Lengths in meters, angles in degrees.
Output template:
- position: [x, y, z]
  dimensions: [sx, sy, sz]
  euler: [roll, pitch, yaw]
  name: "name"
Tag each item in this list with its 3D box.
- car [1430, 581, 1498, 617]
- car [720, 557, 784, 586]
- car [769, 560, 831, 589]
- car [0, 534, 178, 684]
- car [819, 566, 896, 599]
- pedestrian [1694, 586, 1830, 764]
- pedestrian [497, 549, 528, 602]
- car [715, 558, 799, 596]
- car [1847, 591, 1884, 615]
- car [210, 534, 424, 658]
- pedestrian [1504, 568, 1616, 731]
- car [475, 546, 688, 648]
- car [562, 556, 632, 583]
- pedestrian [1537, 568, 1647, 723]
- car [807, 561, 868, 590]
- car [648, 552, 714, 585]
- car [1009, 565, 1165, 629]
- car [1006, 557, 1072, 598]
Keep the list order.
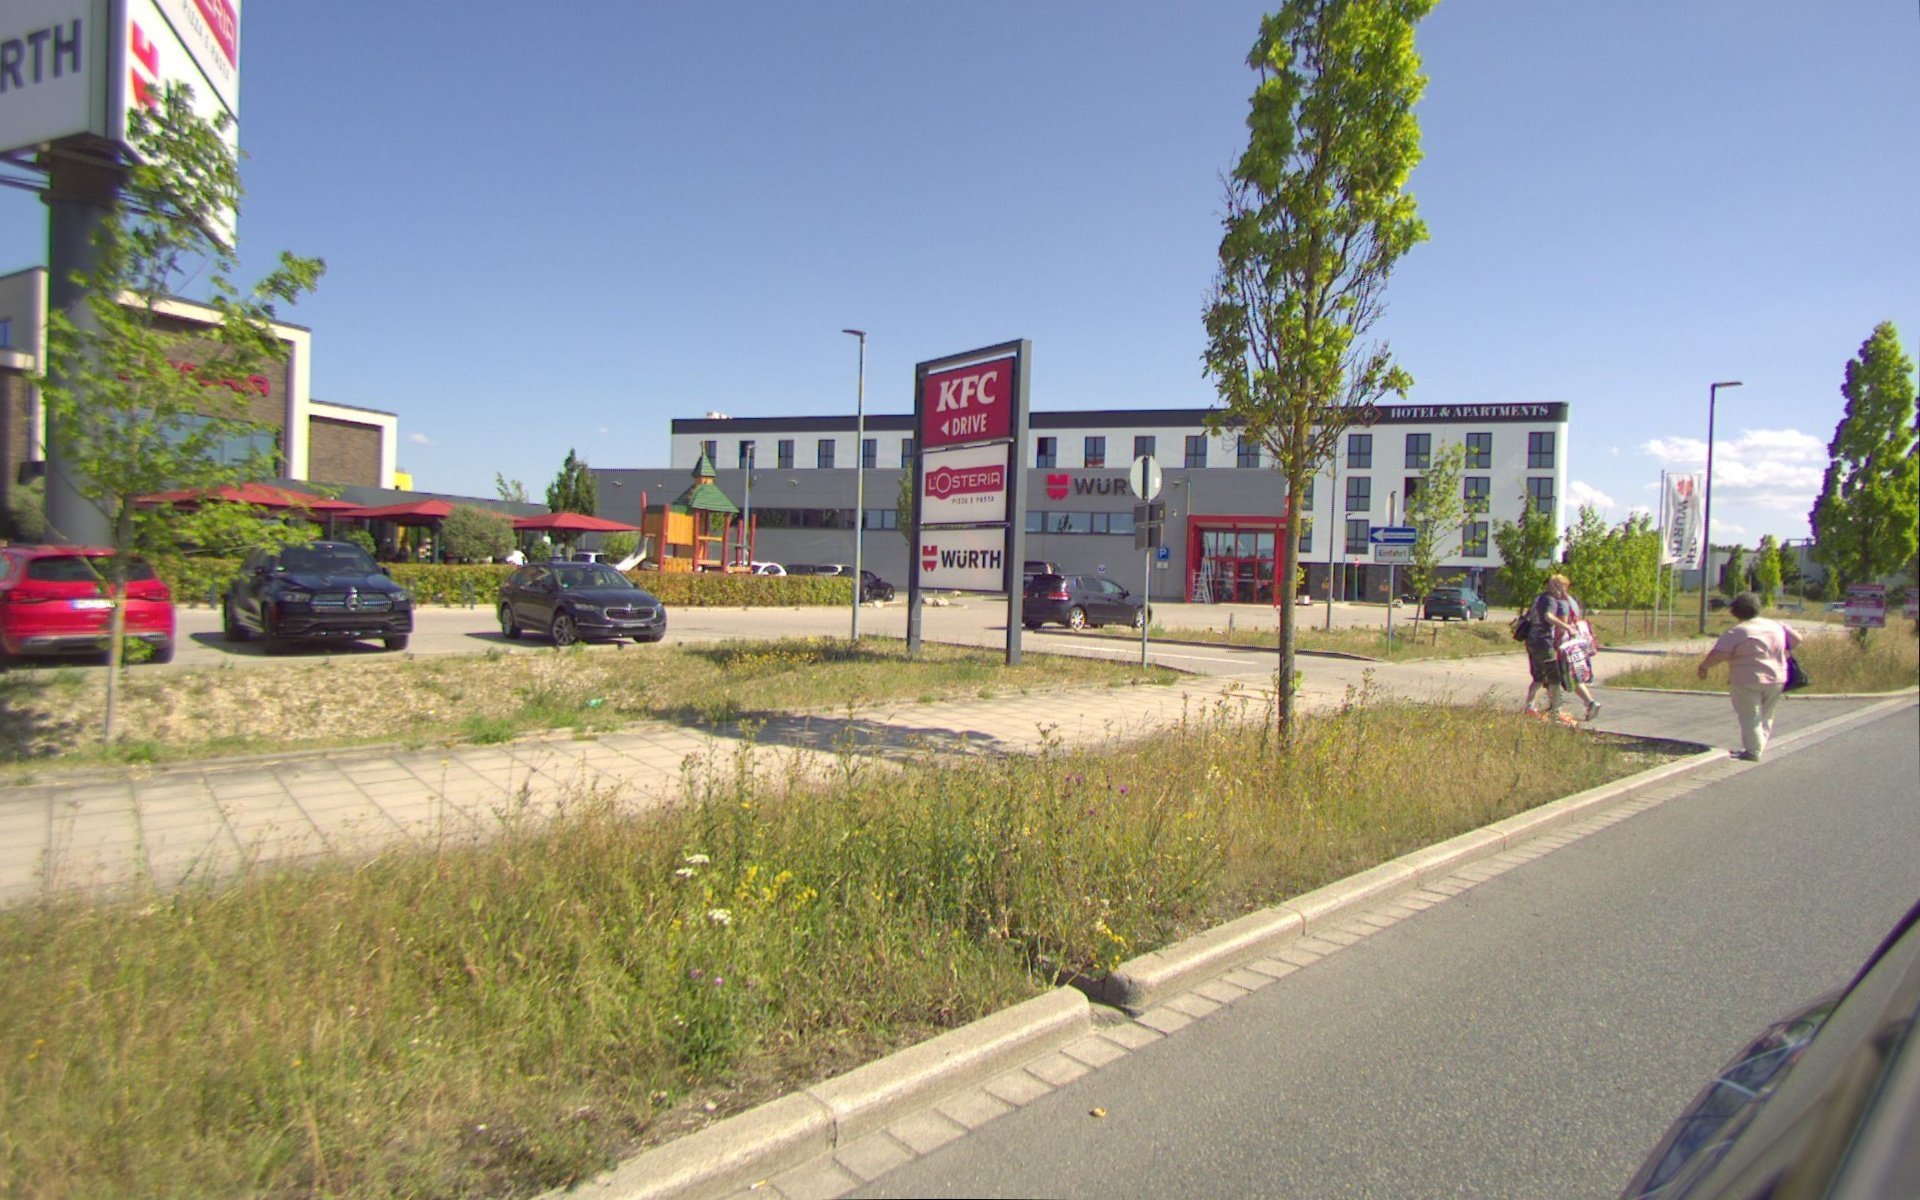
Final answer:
- position: [21.408, -0.040, 42.908]
  dimensions: [1.513, 1.425, 3.938]
  euler: [3, 2, 42]
  name: "car"
- position: [-11.355, -1.558, 55.574]
  dimensions: [1.679, 1.480, 4.087]
  euler: [2, 2, 17]
  name: "car"
- position: [-8.600, -1.386, 54.615]
  dimensions: [1.679, 1.480, 4.087]
  euler: [2, 2, 17]
  name: "car"
- position: [-12.555, 0.005, 14.005]
  dimensions: [4.399, 1.756, 1.766]
  euler: [4, 2, 39]
  name: "car"
- position: [-4.023, -0.702, 40.378]
  dimensions: [1.631, 1.227, 4.115]
  euler: [2, 2, 16]
  name: "car"
- position: [7.239, 0.623, 9.133]
  dimensions: [0.932, 1.488, 0.794]
  euler: [0, 1, -41]
  name: "pedestrian"
- position: [-15.174, -0.833, 34.319]
  dimensions: [0.515, 1.771, 0.812]
  euler: [2, 1, 31]
  name: "pedestrian"
- position: [-8.432, -0.955, 42.445]
  dimensions: [1.678, 1.490, 4.211]
  euler: [2, 2, 16]
  name: "car"
- position: [61.612, 0.160, 68.915]
  dimensions: [1.780, 1.512, 3.941]
  euler: [2, 2, 41]
  name: "car"
- position: [-10.890, -0.167, 16.969]
  dimensions: [4.984, 1.756, 1.908]
  euler: [4, 2, 44]
  name: "car"
- position: [6.408, 0.492, 10.810]
  dimensions: [0.791, 1.650, 0.802]
  euler: [0, 1, -41]
  name: "pedestrian"
- position: [-7.057, -0.122, 18.629]
  dimensions: [4.408, 1.586, 1.963]
  euler: [4, 2, 44]
  name: "car"
- position: [-20.611, -1.739, 57.644]
  dimensions: [1.679, 1.480, 4.087]
  euler: [2, 2, 17]
  name: "car"
- position: [7.060, 0.470, 11.308]
  dimensions: [0.851, 1.648, 0.810]
  euler: [0, 1, -41]
  name: "pedestrian"
- position: [-6.454, -1.303, 53.839]
  dimensions: [1.679, 1.480, 4.087]
  euler: [2, 2, 17]
  name: "car"
- position: [-15.705, -1.754, 57.156]
  dimensions: [1.679, 1.779, 4.087]
  euler: [2, 2, 17]
  name: "car"
- position: [3.405, -0.099, 26.742]
  dimensions: [4.096, 1.559, 1.784]
  euler: [0, 2, -41]
  name: "car"
- position: [3.890, -1.072, 48.876]
  dimensions: [2.023, 1.838, 4.894]
  euler: [2, 1, 19]
  name: "car"
